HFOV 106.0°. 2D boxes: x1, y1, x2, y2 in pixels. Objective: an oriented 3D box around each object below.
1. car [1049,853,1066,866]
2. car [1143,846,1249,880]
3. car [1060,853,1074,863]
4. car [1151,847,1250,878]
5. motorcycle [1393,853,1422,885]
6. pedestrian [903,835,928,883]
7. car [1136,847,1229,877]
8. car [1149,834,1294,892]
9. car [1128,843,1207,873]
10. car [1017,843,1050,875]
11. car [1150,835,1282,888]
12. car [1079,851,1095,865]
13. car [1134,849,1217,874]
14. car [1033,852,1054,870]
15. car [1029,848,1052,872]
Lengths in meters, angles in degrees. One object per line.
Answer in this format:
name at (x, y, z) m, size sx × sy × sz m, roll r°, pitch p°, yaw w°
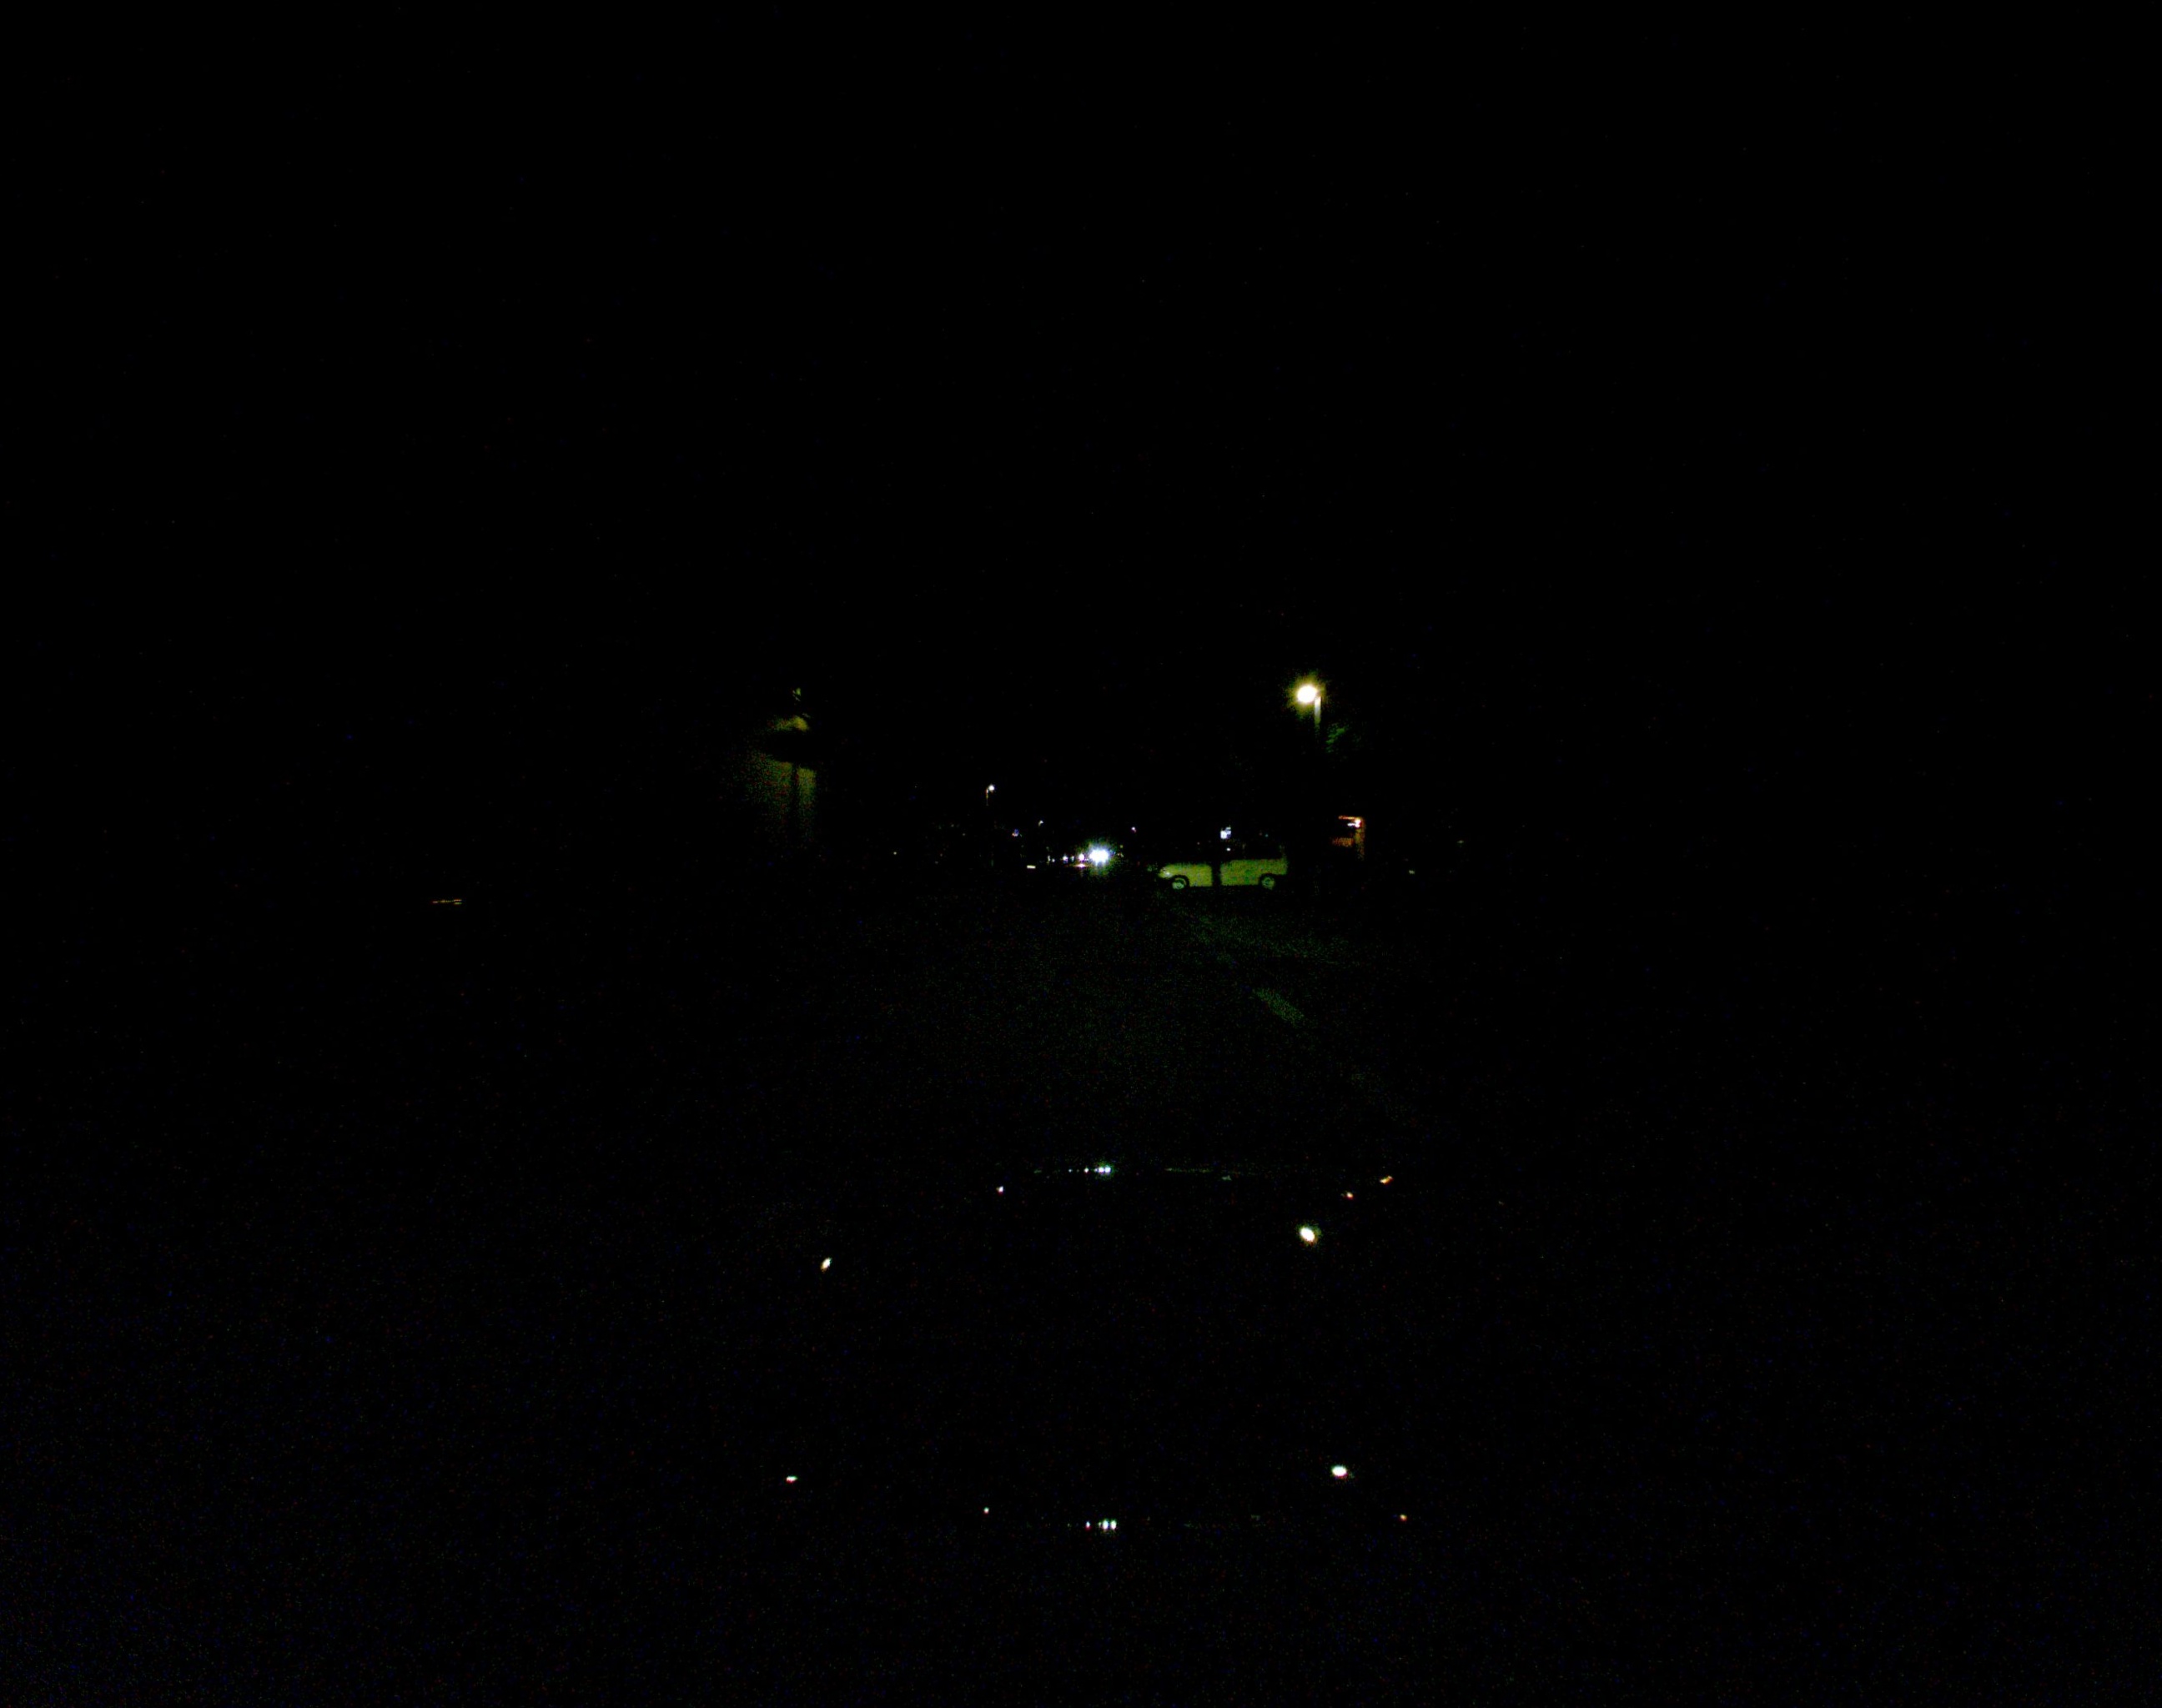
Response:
car at (-2.523, 0.588, 87.798) m, size 1.677 × 1.331 × 3.599 m, roll 0°, pitch 0°, yaw 0°
car at (5.883, 0.451, 42.134) m, size 5.165 × 1.594 × 2.101 m, roll -1°, pitch 0°, yaw 0°
car at (-1.809, 0.499, 103.644) m, size 1.677 × 1.331 × 3.599 m, roll 0°, pitch 0°, yaw 0°
car at (6.549, 0.468, 45.064) m, size 5.165 × 1.525 × 2.101 m, roll -1°, pitch 0°, yaw 0°
motorcycle at (14.805, 0.660, 36.906) m, size 1.060 × 1.327 × 2.722 m, roll 0°, pitch 1°, yaw 25°
pedestrian at (-7.158, 0.200, 35.290) m, size 0.782 × 2.013 × 1.205 m, roll 2°, pitch 0°, yaw 1°
car at (5.863, 0.447, 47.629) m, size 5.165 × 1.594 × 2.101 m, roll -1°, pitch 0°, yaw 0°
car at (5.280, 0.315, 31.095) m, size 5.165 × 2.013 × 2.101 m, roll -1°, pitch 0°, yaw 0°
car at (5.978, 0.254, 55.781) m, size 5.149 × 1.887 × 2.108 m, roll -1°, pitch 0°, yaw 10°
car at (-3.161, 0.321, 55.018) m, size 1.819 × 1.986 × 4.465 m, roll 2°, pitch 0°, yaw 0°
car at (5.586, 0.296, 34.155) m, size 5.165 × 2.013 × 2.101 m, roll -1°, pitch 0°, yaw 0°
car at (0.779, 0.456, 100.667) m, size 1.921 × 1.648 × 3.821 m, roll -1°, pitch 0°, yaw 0°
car at (6.103, 0.470, 53.143) m, size 5.165 × 1.469 × 2.101 m, roll -1°, pitch 0°, yaw 0°
car at (-3.049, 0.567, 66.935) m, size 1.529 × 1.451 × 3.119 m, roll 0°, pitch 0°, yaw 0°
car at (-3.054, 0.446, 61.901) m, size 1.529 × 1.688 × 3.212 m, roll 2°, pitch 0°, yaw 0°
